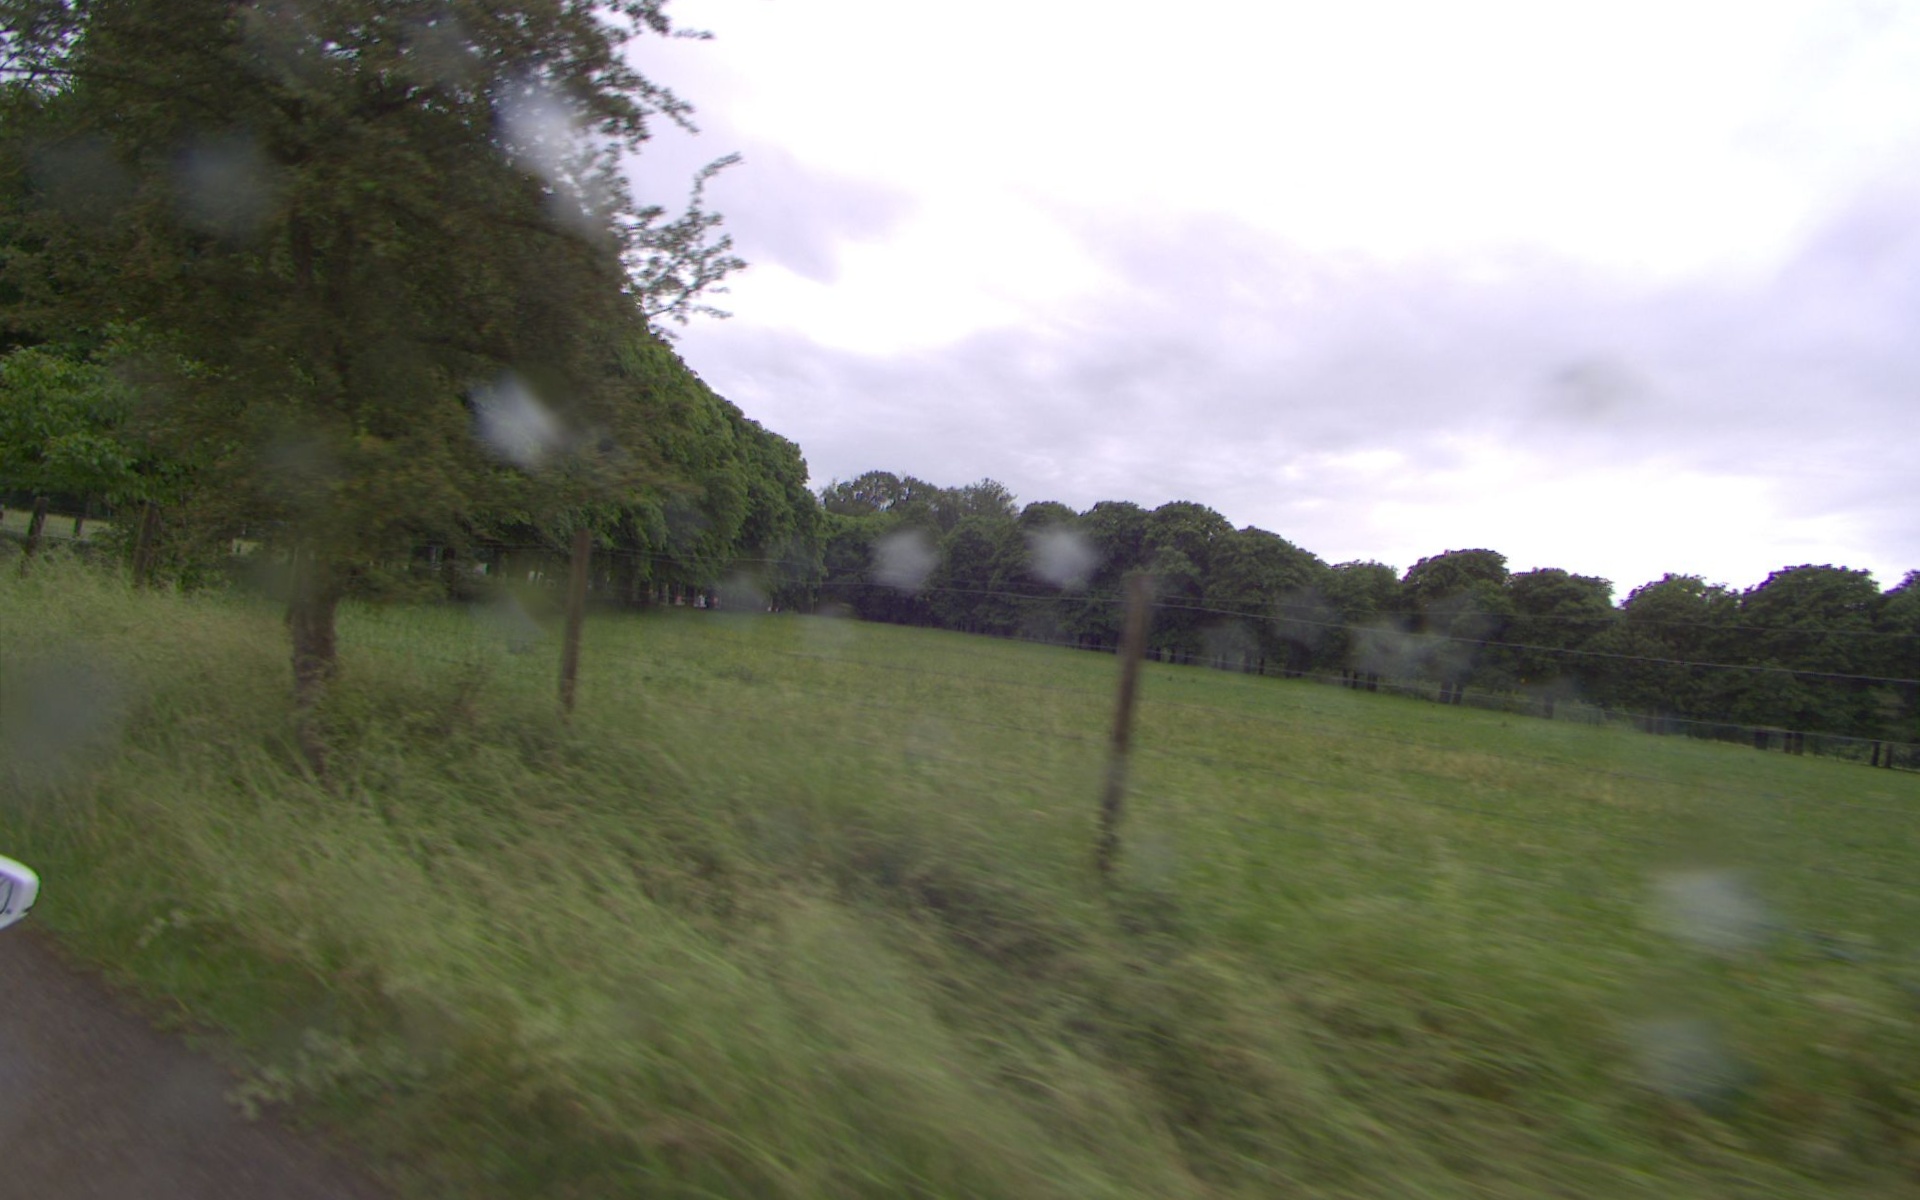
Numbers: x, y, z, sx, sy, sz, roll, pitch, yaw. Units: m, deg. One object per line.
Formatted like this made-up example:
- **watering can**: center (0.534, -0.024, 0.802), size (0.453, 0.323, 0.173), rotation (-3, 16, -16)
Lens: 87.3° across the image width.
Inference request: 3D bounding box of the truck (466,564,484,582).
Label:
- **truck**: center (-76.716, -4.309, 159.295), size (1.848, 2.471, 3.339), rotation (7, -2, -17)
